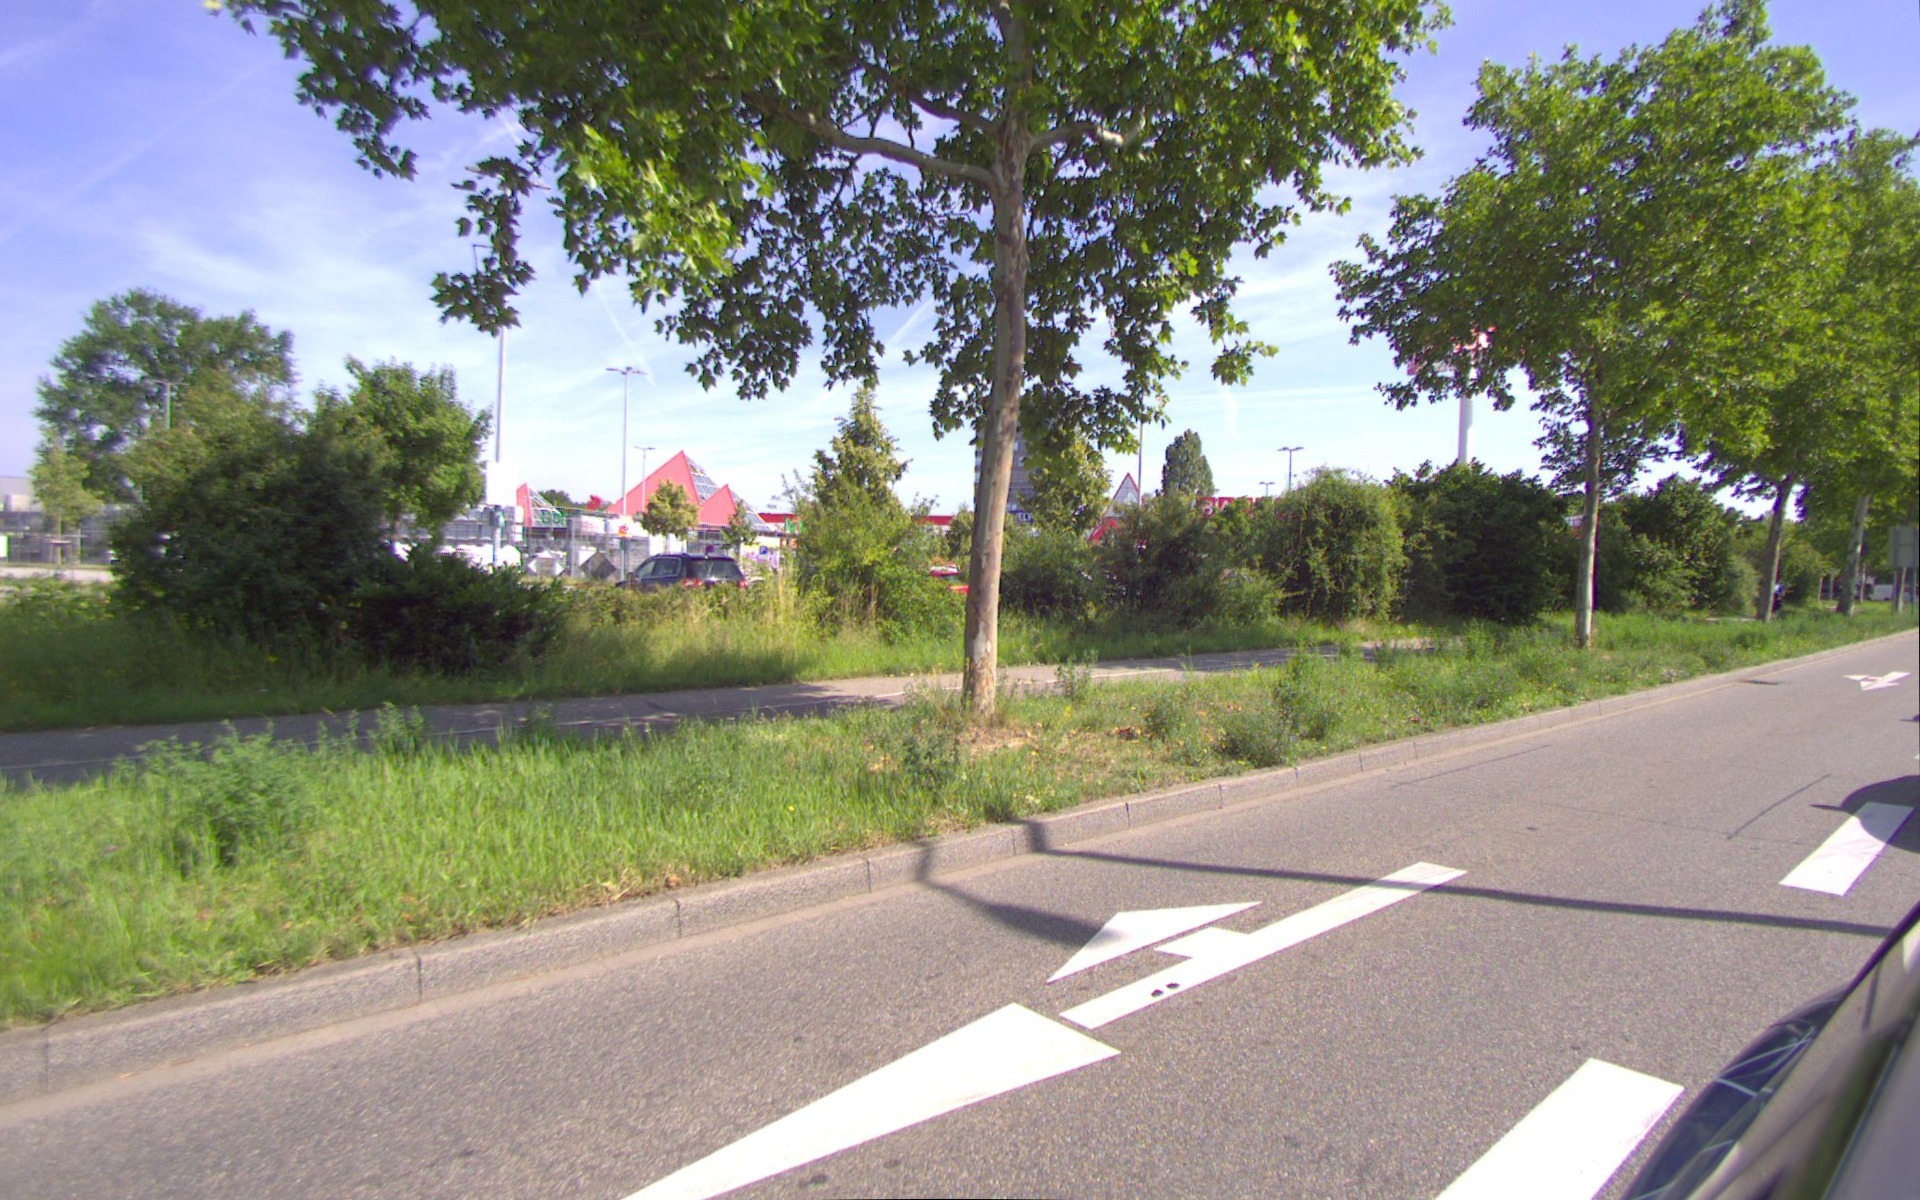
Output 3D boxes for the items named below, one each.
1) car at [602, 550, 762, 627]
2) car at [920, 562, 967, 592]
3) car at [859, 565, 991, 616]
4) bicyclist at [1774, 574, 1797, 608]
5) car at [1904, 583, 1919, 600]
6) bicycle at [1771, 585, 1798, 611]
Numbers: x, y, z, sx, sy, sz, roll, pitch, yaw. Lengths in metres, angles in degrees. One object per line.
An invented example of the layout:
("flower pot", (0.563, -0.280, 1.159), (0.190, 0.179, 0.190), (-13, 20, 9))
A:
("car", (-6.440, -0.328, 23.269), (3.850, 1.604, 1.821), (3, 3, 43))
("car", (-0.869, -1.311, 56.210), (1.665, 1.593, 3.985), (1, 2, 13))
("car", (-1.035, -0.313, 28.733), (3.553, 1.315, 1.740), (3, 3, 43))
("bicyclist", (40.441, -0.457, 49.583), (0.984, 1.651, 0.686), (0, 2, -41))
("car", (117.081, -1.021, 122.650), (1.974, 2.038, 4.672), (2, 2, 18))
("bicycle", (40.401, -0.112, 49.560), (1.900, 1.252, 0.686), (-1, 2, -41))
